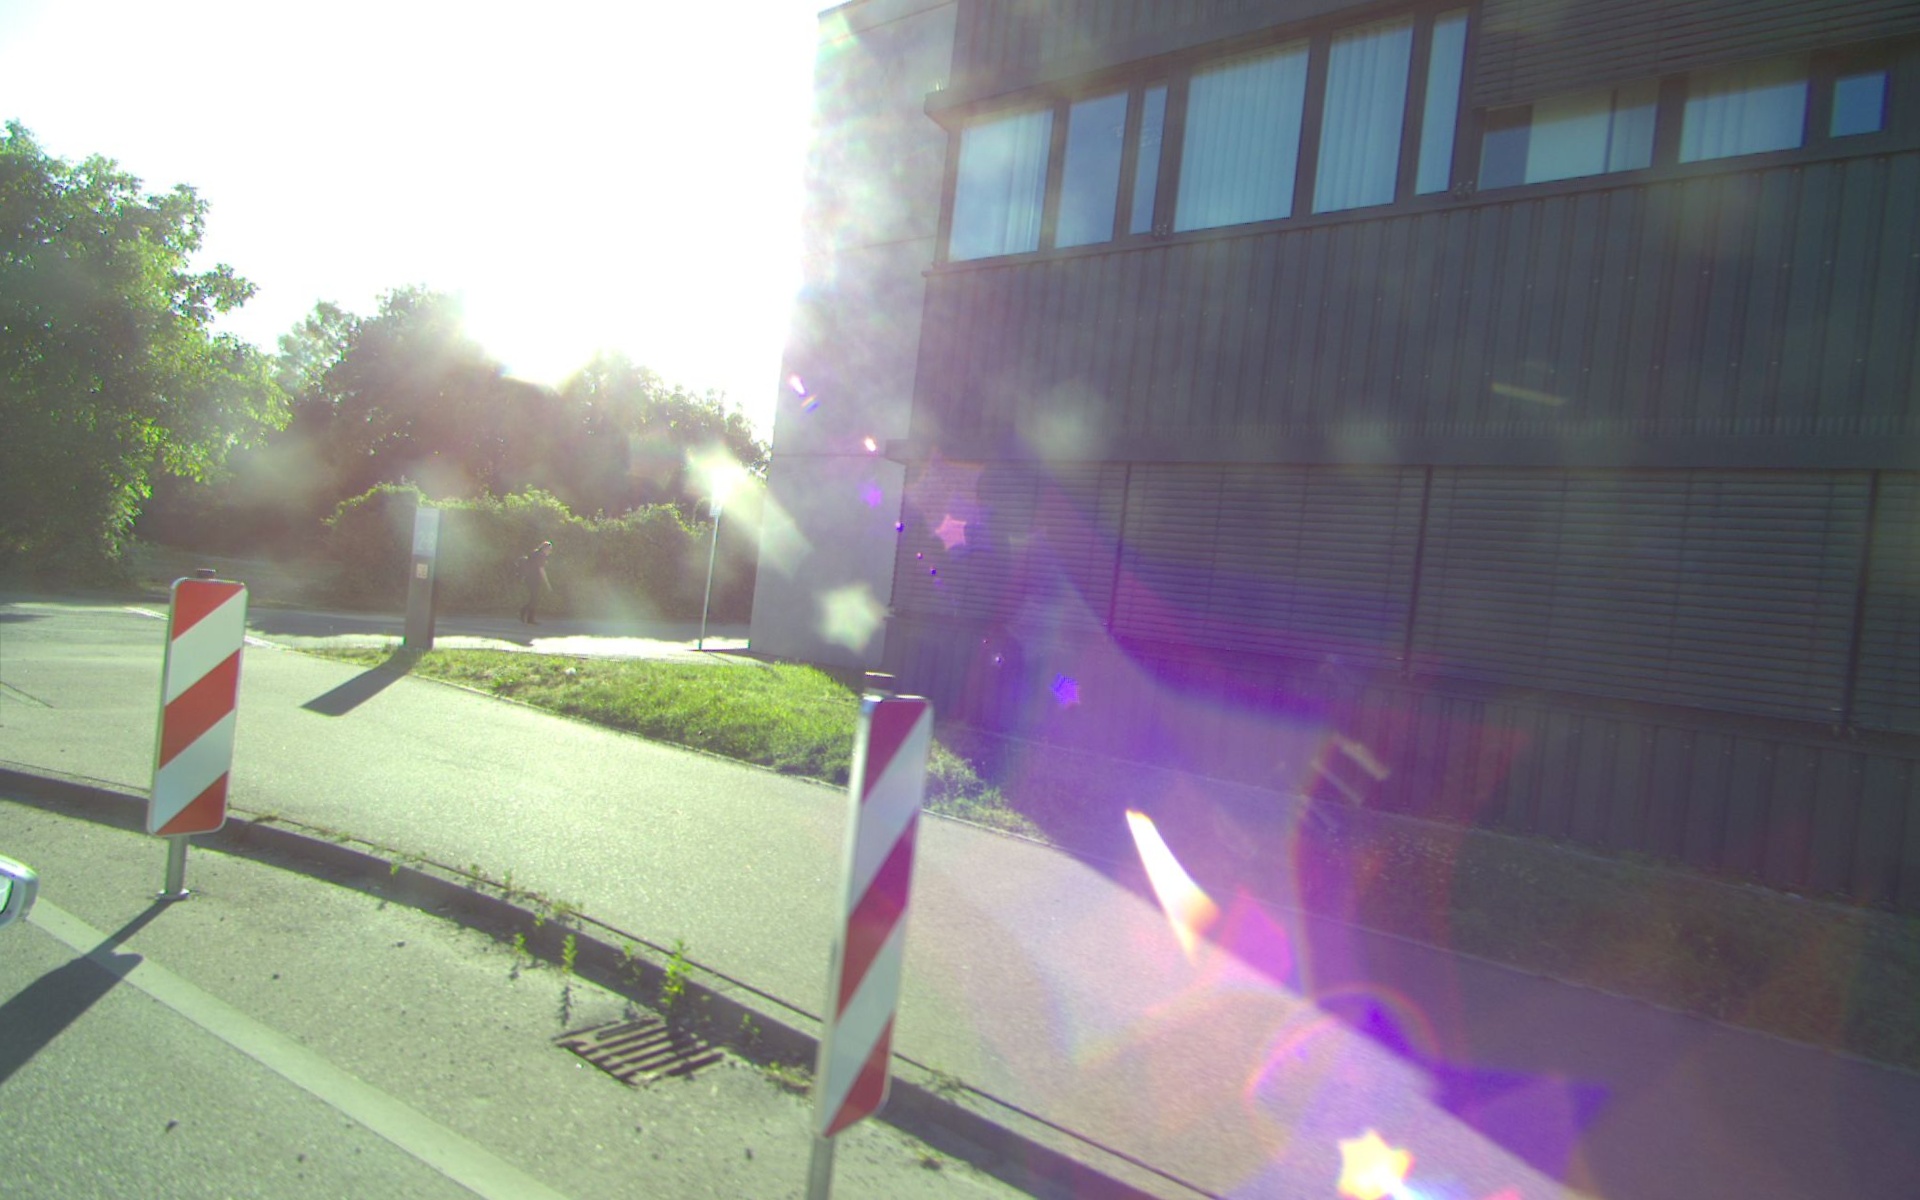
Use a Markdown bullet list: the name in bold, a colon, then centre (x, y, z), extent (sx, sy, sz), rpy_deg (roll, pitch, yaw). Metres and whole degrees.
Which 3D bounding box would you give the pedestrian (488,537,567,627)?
- **pedestrian**: centre (-9.197, -0.368, 21.395), extent (0.881, 1.817, 1.152), rpy_deg (7, 3, 31)
